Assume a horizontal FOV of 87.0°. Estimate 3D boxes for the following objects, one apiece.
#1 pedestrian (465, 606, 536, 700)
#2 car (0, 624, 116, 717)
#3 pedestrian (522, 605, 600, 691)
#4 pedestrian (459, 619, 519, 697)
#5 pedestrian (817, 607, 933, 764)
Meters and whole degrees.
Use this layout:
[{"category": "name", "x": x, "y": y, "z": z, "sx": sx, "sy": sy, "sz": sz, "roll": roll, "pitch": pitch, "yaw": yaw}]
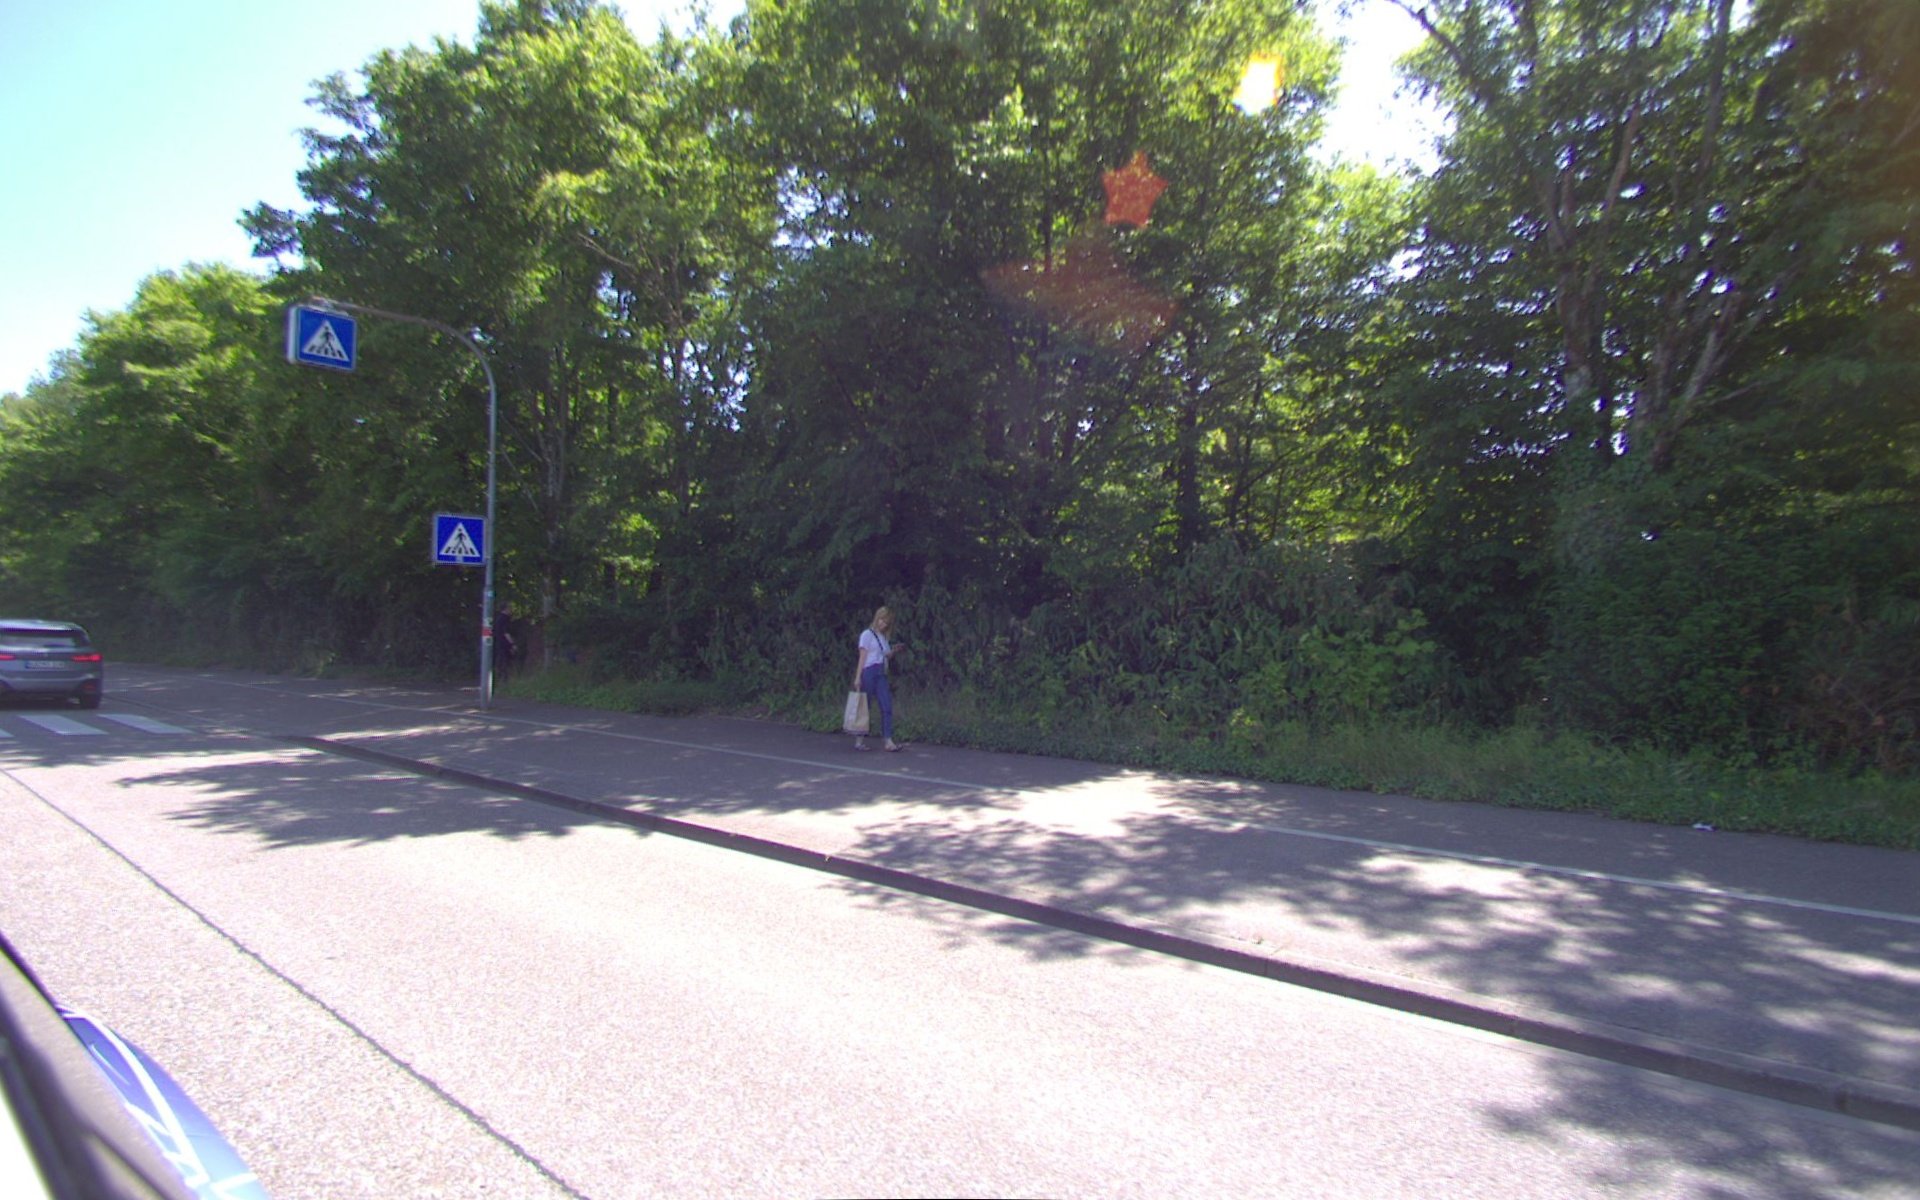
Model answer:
[{"category": "pedestrian", "x": -9.534, "y": 1.079, "z": 21.001, "sx": 0.781, "sy": 1.879, "sz": 1.074, "roll": -1, "pitch": -2, "yaw": 32}, {"category": "car", "x": -17.280, "y": 1.251, "z": 18.590, "sx": 4.192, "sy": 1.544, "sz": 1.872, "roll": -1, "pitch": -6, "yaw": 39}, {"category": "pedestrian", "x": -8.487, "y": 1.012, "z": 21.548, "sx": 1.021, "sy": 1.765, "sz": 1.144, "roll": -4, "pitch": -3, "yaw": 37}, {"category": "pedestrian", "x": -10.059, "y": 1.226, "z": 21.631, "sx": 0.778, "sy": 1.623, "sz": 0.886, "roll": -1, "pitch": -2, "yaw": 32}, {"category": "pedestrian", "x": -0.933, "y": 0.899, "z": 11.140, "sx": 0.885, "sy": 1.625, "sz": 0.923, "roll": -1, "pitch": -1, "yaw": 39}]
